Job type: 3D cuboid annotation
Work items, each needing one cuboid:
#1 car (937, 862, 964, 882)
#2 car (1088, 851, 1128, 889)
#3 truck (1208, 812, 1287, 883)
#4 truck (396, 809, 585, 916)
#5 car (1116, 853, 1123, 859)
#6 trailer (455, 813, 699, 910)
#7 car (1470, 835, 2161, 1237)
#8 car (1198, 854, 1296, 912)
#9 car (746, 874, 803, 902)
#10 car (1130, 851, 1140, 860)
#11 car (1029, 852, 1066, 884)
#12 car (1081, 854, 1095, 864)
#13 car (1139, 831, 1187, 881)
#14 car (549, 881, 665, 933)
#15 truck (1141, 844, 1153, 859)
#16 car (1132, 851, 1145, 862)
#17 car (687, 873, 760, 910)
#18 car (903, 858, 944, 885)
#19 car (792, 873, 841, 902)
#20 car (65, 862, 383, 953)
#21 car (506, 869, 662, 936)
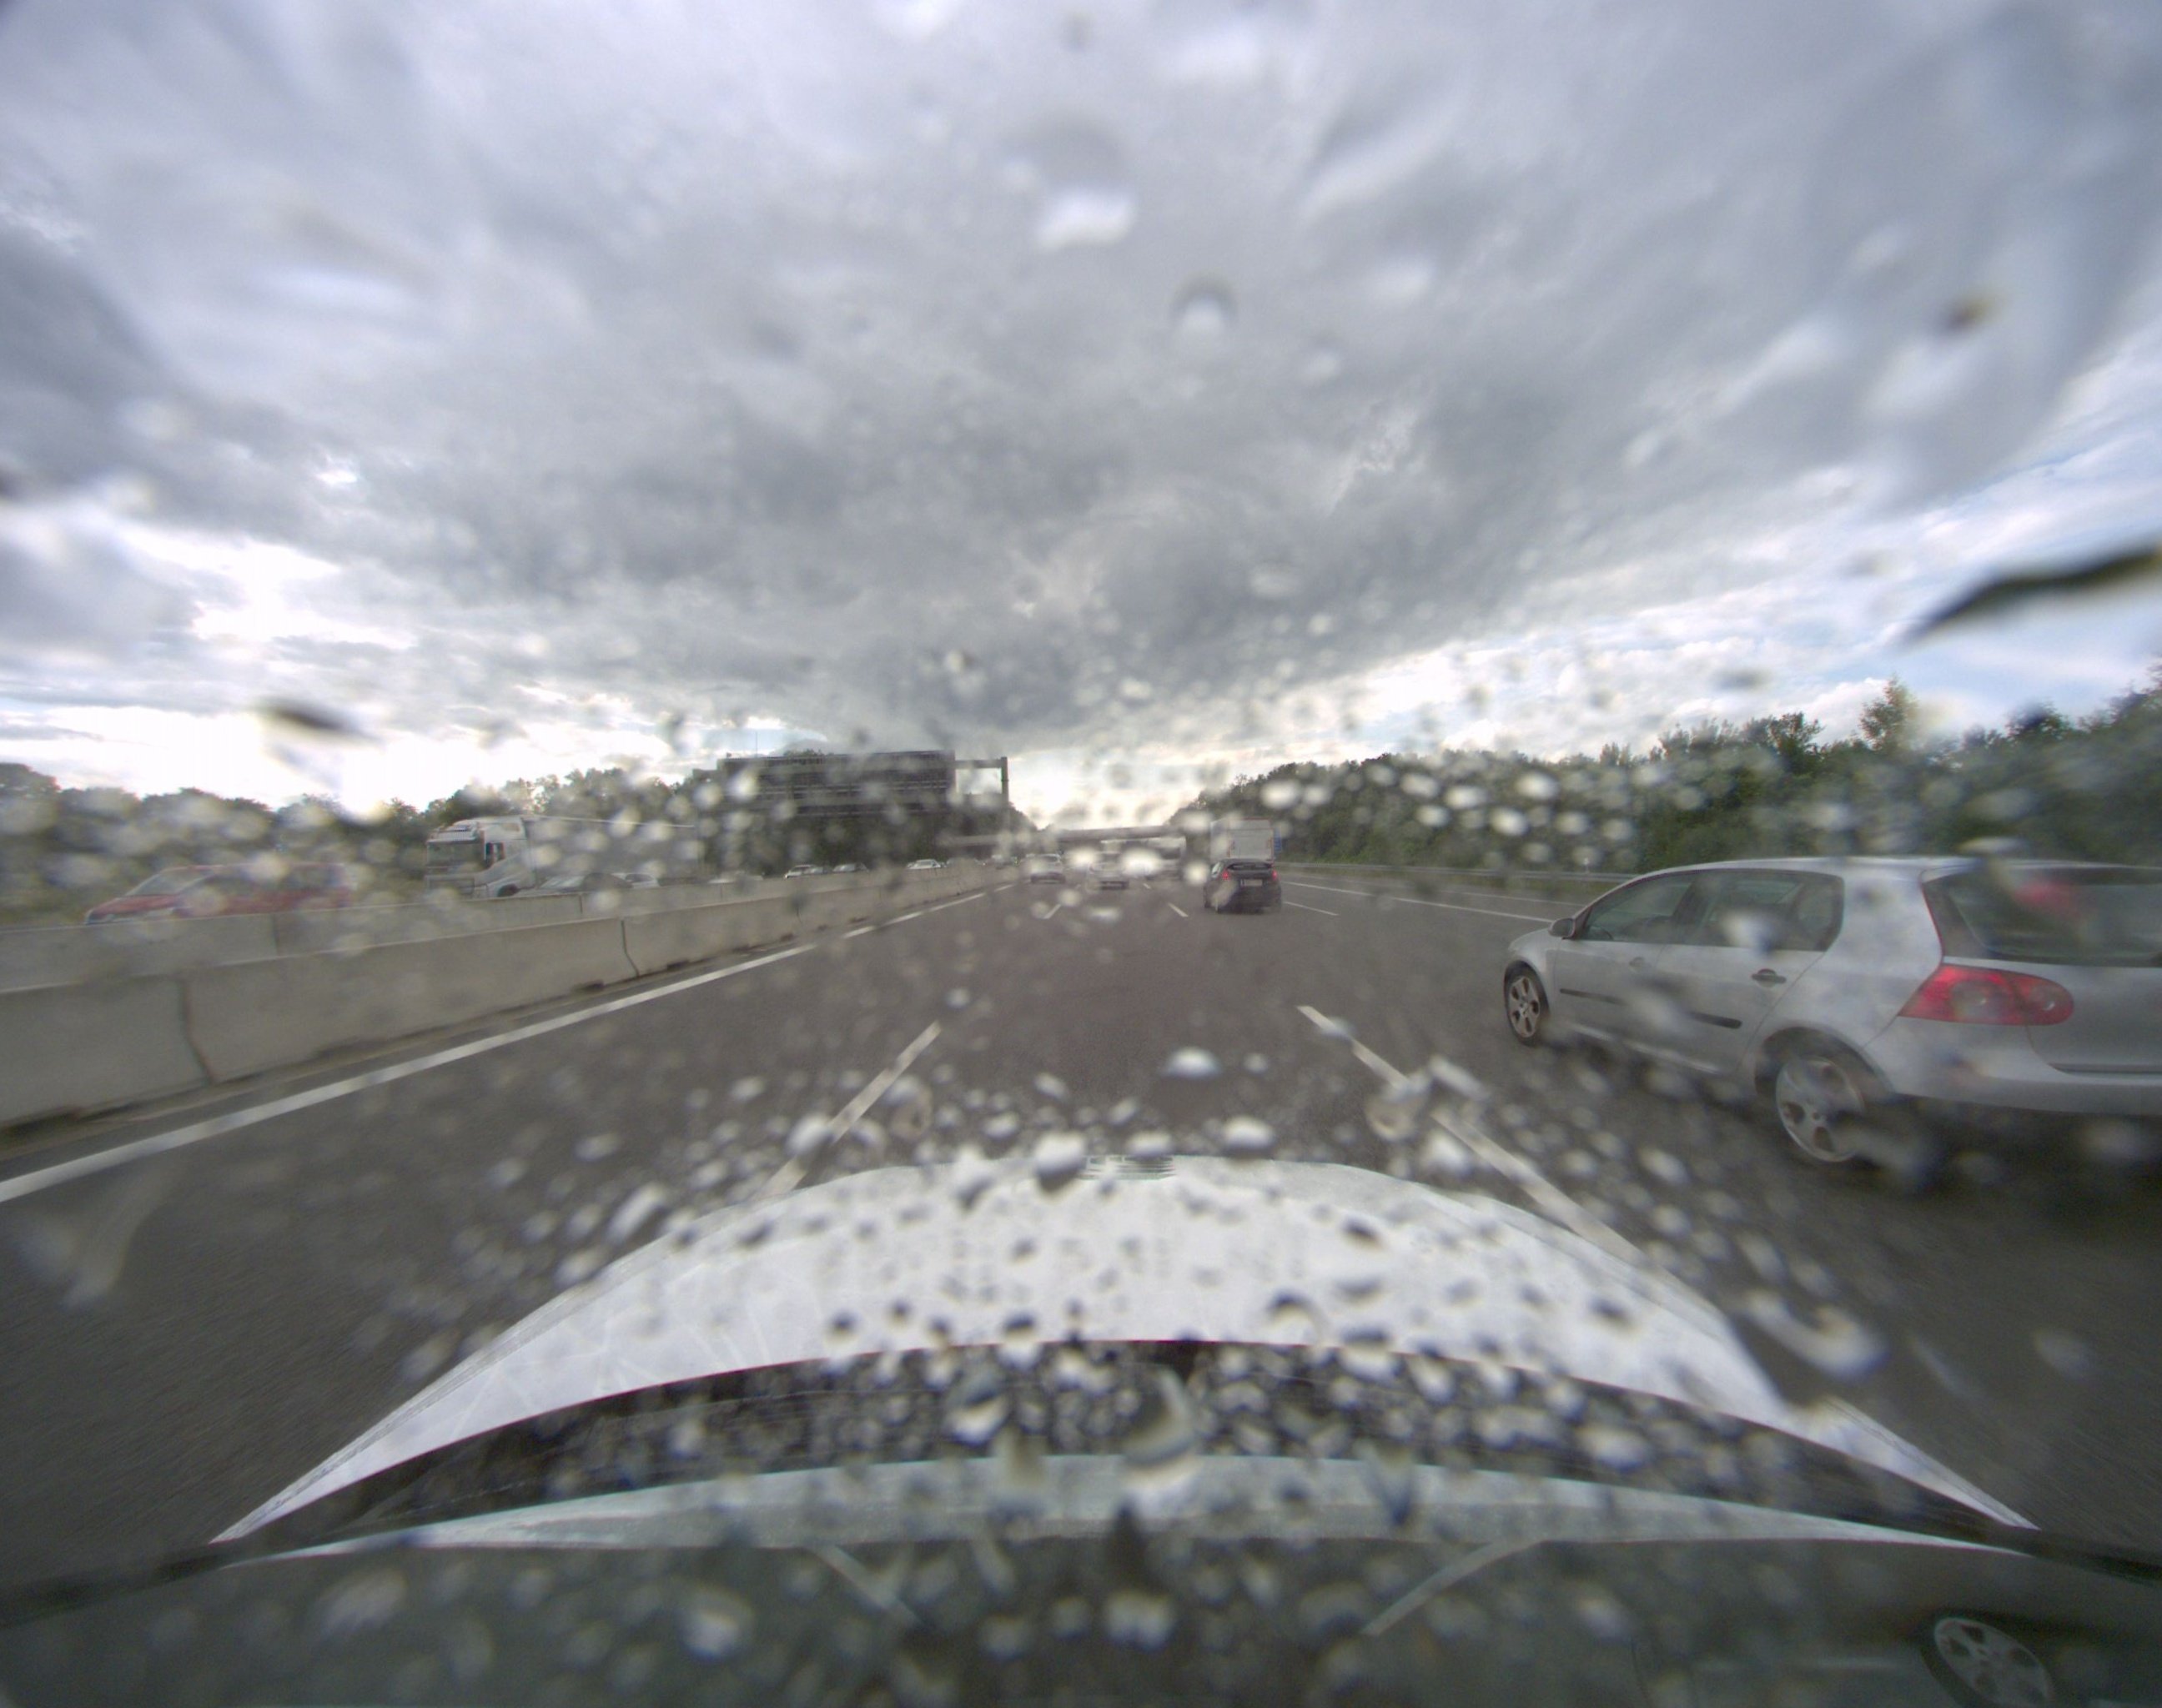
[{"bbox_3d":[-14.220,1.953,88.890,1.986,2.013,4.763,-1,0,2],"label":"car"},{"bbox_3d":[1.231,0.717,38.598,1.775,1.716,4.353,-1,0,1],"label":"car"},{"bbox_3d":[9.562,-0.360,47.974,3.120,3.709,9.855,-1,0,3],"label":"truck"},{"bbox_3d":[-24.433,0.332,34.203,3.208,4.057,6.235,-1,0,2],"label":"truck"},{"bbox_3d":[10.942,0.676,230.975,1.875,1.686,3.998,-1,0,-1],"label":"car"},{"bbox_3d":[-24.243,0.321,40.846,3.226,4.028,13.813,-1,0,2],"label":"trailer"},{"bbox_3d":[4.227,0.665,5.030,1.789,1.477,4.039,-1,0,1],"label":"car"},{"bbox_3d":[4.450,0.721,22.454,1.878,1.407,4.283,-1,0,1],"label":"car"},{"bbox_3d":[-23.996,2.645,63.892,2.421,1.952,4.831,-1,0,3],"label":"car"},{"bbox_3d":[11.969,0.351,180.803,2.035,1.823,4.907,-1,0,3],"label":"car"},{"bbox_3d":[-1.902,0.756,47.334,1.808,1.689,4.853,-1,0,1],"label":"car"},{"bbox_3d":[1.054,0.730,118.722,1.774,1.481,4.355,-1,0,2],"label":"car"},{"bbox_3d":[5.091,0.116,51.739,2.557,2.895,7.537,-1,0,2],"label":"car"},{"bbox_3d":[-20.009,2.177,34.657,1.986,1.873,4.763,-1,0,2],"label":"car"},{"bbox_3d":[17.321,-0.595,213.248,2.894,3.810,7.279,-1,0,3],"label":"truck"},{"bbox_3d":[9.627,0.437,135.695,2.035,1.823,4.907,-1,0,3],"label":"car"},{"bbox_3d":[-19.391,1.975,44.397,1.814,1.781,4.674,-1,0,2],"label":"car"},{"bbox_3d":[-11.590,1.267,60.285,1.986,1.891,4.364,-1,0,2],"label":"car"},{"bbox_3d":[-19.081,2.390,59.016,1.986,1.891,4.364,-1,0,2],"label":"car"},{"bbox_3d":[-20.629,1.161,20.102,1.986,1.873,5.395,-1,0,2],"label":"car"},{"bbox_3d":[-15.912,1.485,26.431,1.986,1.873,4.763,-1,0,2],"label":"car"}]
